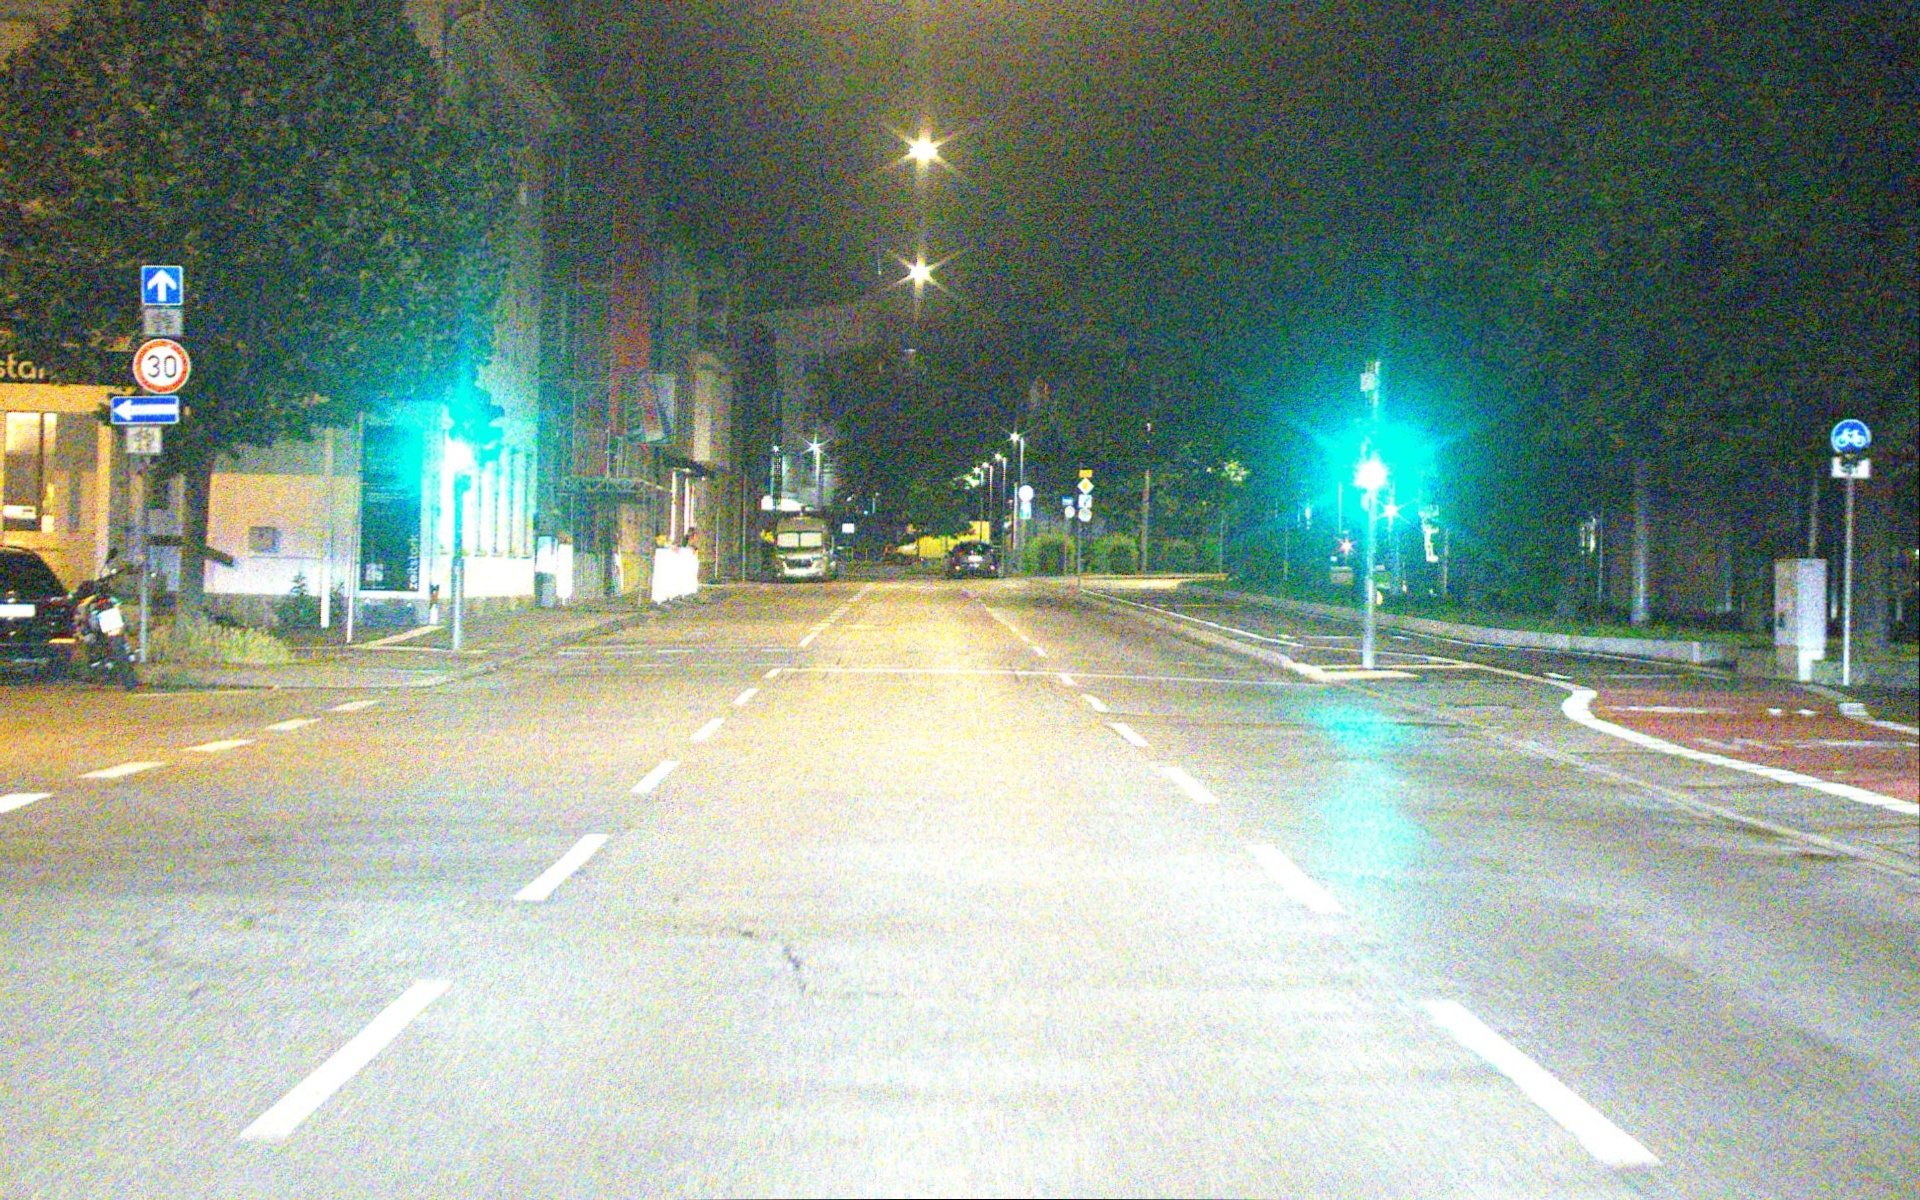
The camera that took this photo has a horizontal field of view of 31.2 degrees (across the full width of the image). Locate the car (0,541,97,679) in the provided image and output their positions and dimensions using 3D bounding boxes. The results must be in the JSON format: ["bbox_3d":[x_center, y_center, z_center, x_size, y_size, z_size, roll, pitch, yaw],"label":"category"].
[{"bbox_3d":[-11.107,0.074,37.581,1.886,1.419,4.729,-1,1,-32],"label":"car"}]

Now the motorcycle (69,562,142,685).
[{"bbox_3d":[-8.545,0.221,34.340,0.571,1.175,2.033,0,1,-18],"label":"motorcycle"}]

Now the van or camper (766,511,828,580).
[{"bbox_3d":[-6.242,-2.077,132.538,2.158,2.527,6.227,-2,1,-1],"label":"van or camper"}]

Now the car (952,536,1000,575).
[{"bbox_3d":[0.688,-1.843,143.038,1.884,1.597,4.107,-1,0,1],"label":"car"}]

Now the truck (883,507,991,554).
[{"bbox_3d":[-1.504,-4.470,220.598,6.775,2.834,2.000,1,1,-3],"label":"truck"}]
